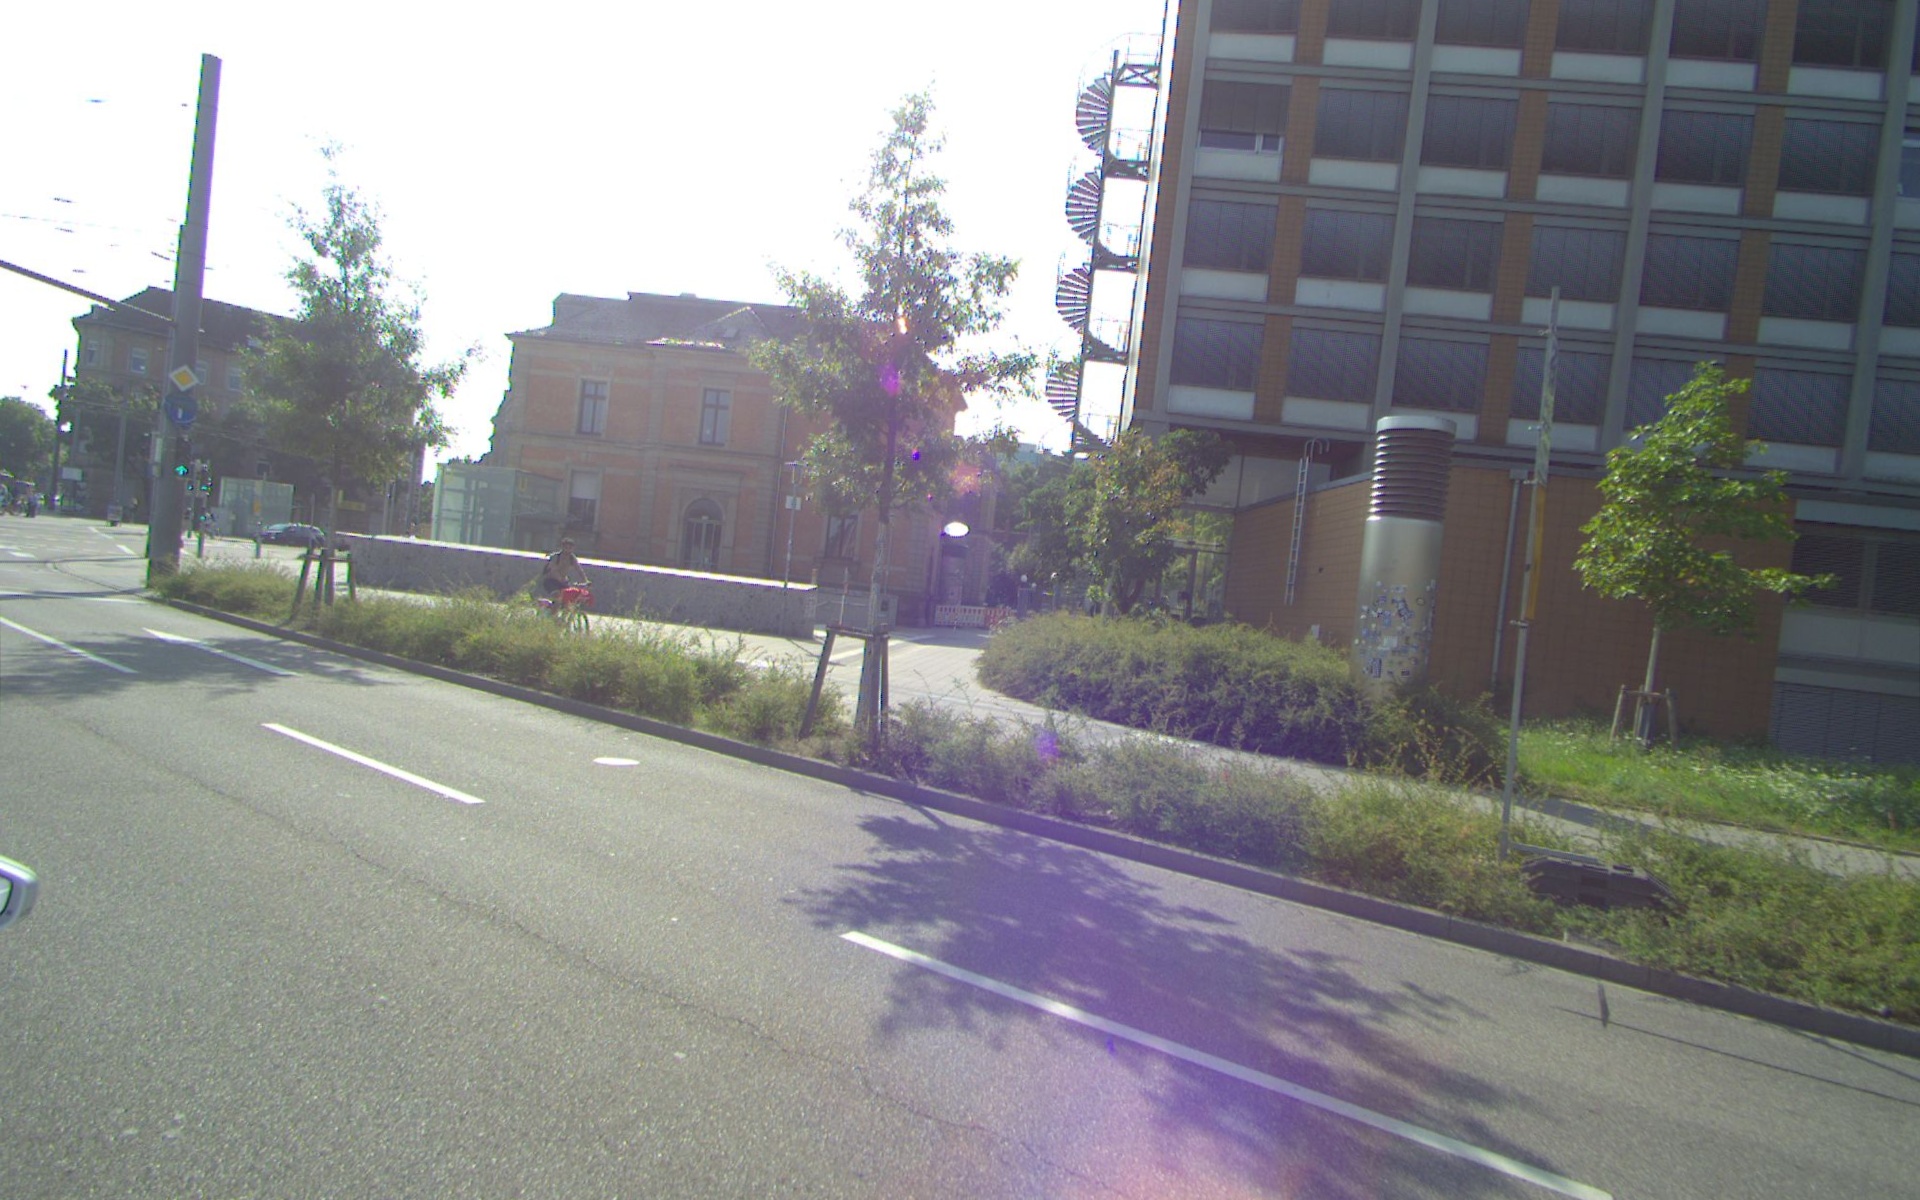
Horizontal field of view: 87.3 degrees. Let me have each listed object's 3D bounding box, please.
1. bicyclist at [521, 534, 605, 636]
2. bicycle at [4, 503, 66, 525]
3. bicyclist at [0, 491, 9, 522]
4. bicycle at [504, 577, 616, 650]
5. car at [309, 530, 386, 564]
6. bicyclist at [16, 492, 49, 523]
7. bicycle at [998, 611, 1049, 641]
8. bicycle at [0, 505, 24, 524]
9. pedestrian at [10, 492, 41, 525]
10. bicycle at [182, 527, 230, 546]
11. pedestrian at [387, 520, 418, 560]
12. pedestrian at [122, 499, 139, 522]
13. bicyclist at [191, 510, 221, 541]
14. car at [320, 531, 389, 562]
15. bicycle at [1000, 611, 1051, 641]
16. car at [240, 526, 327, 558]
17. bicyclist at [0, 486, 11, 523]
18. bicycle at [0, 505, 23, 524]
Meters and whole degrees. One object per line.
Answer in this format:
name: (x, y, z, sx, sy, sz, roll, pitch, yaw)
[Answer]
bicyclist: (-6.484, -0.239, 16.435, 0.988, 1.532, 0.719, 7, 1, 35)
bicycle: (-57.052, -5.290, 62.102, 1.072, 0.976, 2.628, 7, 0, 11)
bicyclist: (-57.067, -5.588, 59.287, 1.072, 1.822, 0.937, 7, 1, 11)
bicycle: (-6.569, 0.218, 16.471, 1.891, 0.972, 0.719, 6, 1, 35)
car: (-43.368, -3.716, 71.377, 1.873, 1.881, 4.712, 7, -1, 9)
bicyclist: (-57.041, -5.664, 61.902, 1.072, 1.701, 0.937, 7, 1, 11)
bicycle: (2.872, 1.181, 45.444, 2.200, 1.084, 0.579, 6, 1, 2)
bicycle: (-57.114, -5.164, 59.312, 1.072, 0.976, 2.628, 7, 0, 11)
pedestrian: (-55.497, -5.434, 59.768, 0.845, 1.820, 0.927, 6, 1, -6)
bicycle: (-47.833, -4.016, 63.837, 1.073, 0.976, 2.626, 6, 0, -2)
pedestrian: (-26.170, -2.813, 47.224, 0.908, 1.711, 0.922, 6, 0, -15)
pedestrian: (-57.124, -6.147, 69.311, 0.537, 1.489, 0.667, 6, 1, -9)
bicyclist: (-47.747, -4.720, 63.712, 1.073, 1.730, 0.936, 6, 1, -2)
car: (-47.227, -4.156, 78.590, 1.895, 1.881, 4.275, 7, 0, 17)
bicycle: (2.884, 1.146, 44.631, 2.153, 1.067, 0.631, 6, 1, 2)
car: (-42.089, -3.593, 62.736, 1.985, 1.414, 4.390, 7, -1, 7)
bicyclist: (-55.453, -5.536, 57.647, 1.073, 2.050, 0.936, 6, 1, -2)
bicycle: (-55.512, -4.988, 57.702, 1.073, 0.976, 2.625, 7, 0, -2)
